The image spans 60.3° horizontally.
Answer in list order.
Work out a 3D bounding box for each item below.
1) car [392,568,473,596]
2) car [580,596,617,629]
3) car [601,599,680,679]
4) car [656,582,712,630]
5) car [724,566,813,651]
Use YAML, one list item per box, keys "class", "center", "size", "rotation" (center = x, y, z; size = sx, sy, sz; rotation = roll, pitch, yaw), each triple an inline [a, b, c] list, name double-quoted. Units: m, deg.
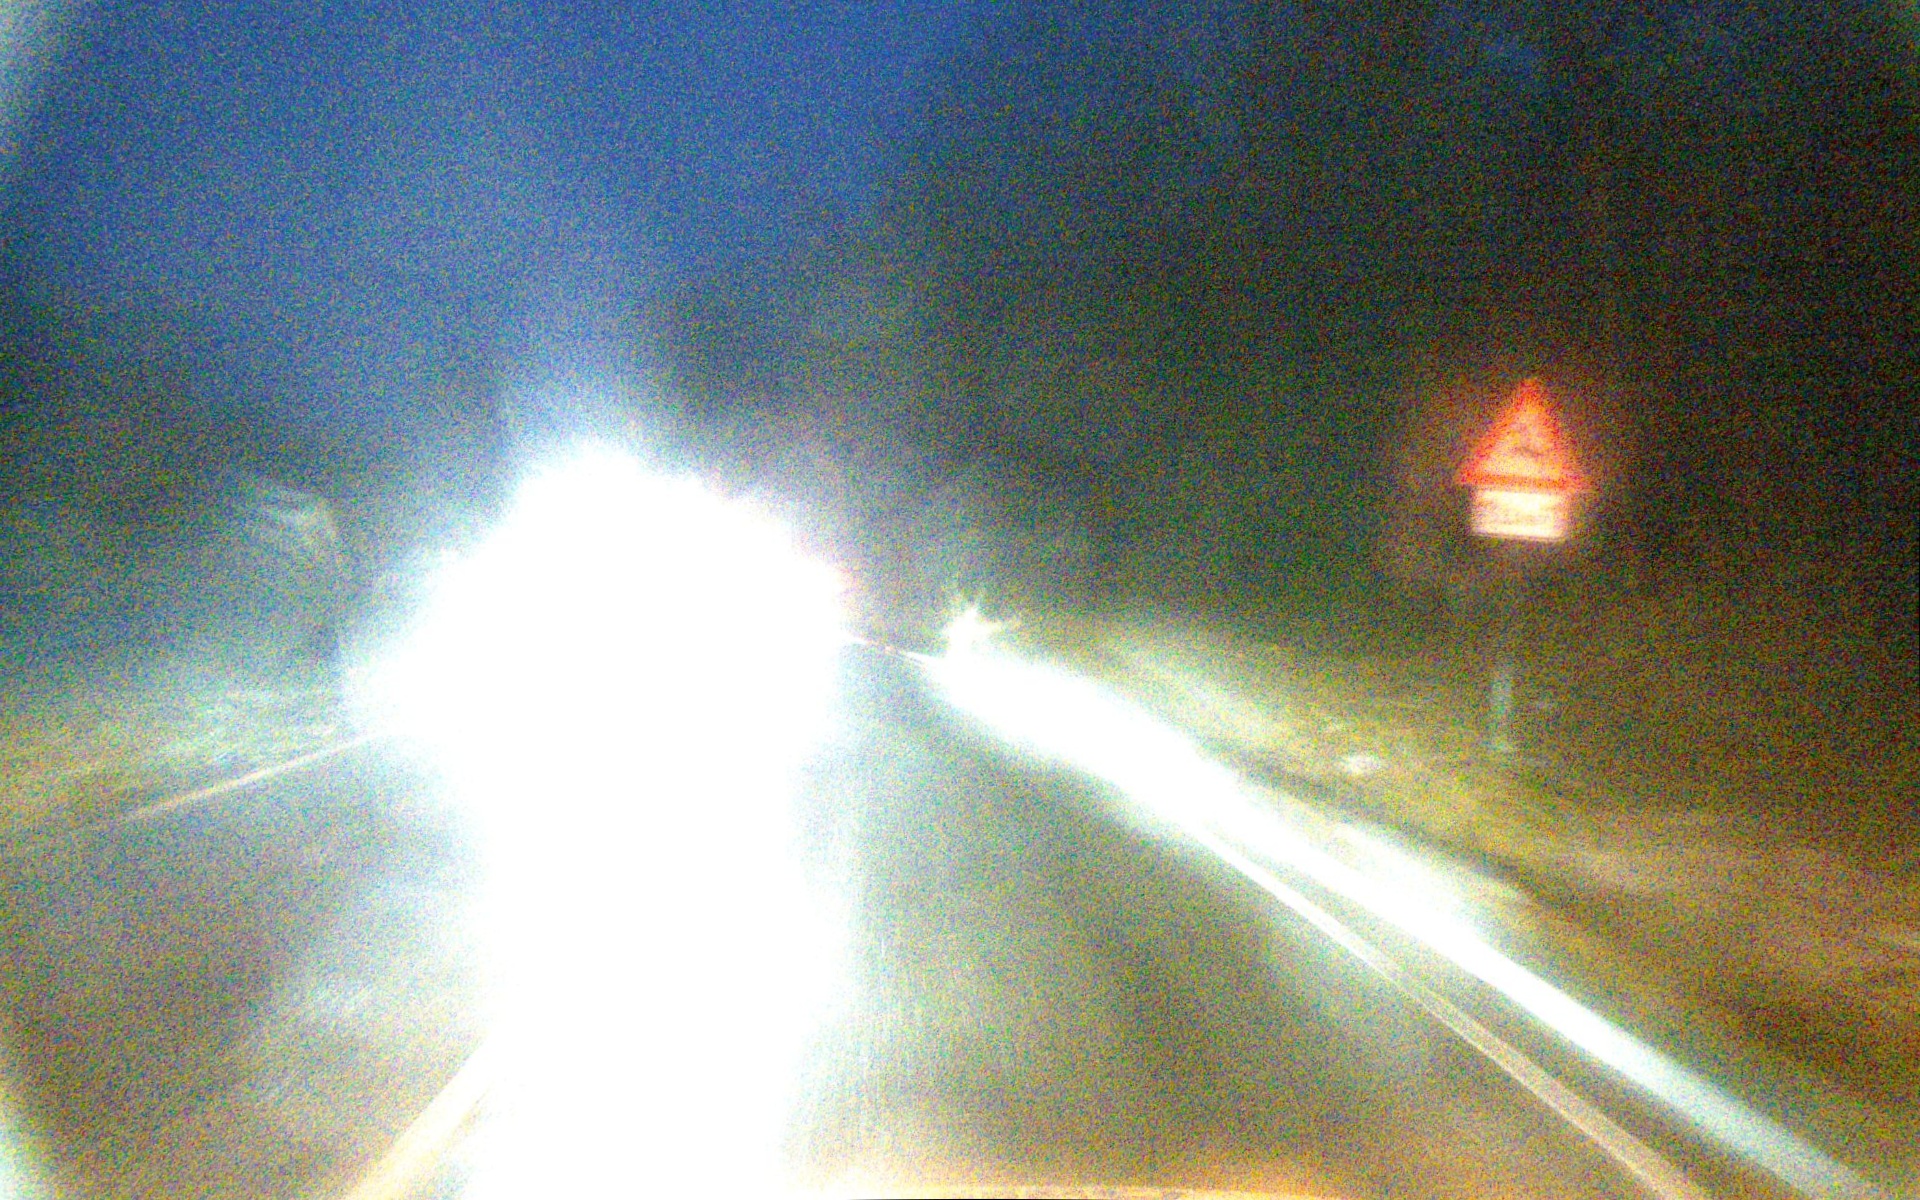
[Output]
- class: "car"
  center: [-33.891, -1.142, 106.301]
  size: [4.842, 1.765, 1.987]
  rotation: [0, 1, -22]
- class: "car"
  center: [-17.771, 0.606, 81.208]
  size: [1.608, 1.536, 4.079]
  rotation: [-1, 0, -15]
- class: "car"
  center: [-8.960, 1.108, 46.683]
  size: [1.957, 2.049, 4.834]
  rotation: [3, -2, -9]
- class: "car"
  center: [-13.063, 0.297, 78.159]
  size: [1.963, 2.049, 3.978]
  rotation: [3, -3, -19]
- class: "car"
  center: [-6.143, 0.200, 52.568]
  size: [2.492, 2.541, 5.701]
  rotation: [0, 1, -10]
